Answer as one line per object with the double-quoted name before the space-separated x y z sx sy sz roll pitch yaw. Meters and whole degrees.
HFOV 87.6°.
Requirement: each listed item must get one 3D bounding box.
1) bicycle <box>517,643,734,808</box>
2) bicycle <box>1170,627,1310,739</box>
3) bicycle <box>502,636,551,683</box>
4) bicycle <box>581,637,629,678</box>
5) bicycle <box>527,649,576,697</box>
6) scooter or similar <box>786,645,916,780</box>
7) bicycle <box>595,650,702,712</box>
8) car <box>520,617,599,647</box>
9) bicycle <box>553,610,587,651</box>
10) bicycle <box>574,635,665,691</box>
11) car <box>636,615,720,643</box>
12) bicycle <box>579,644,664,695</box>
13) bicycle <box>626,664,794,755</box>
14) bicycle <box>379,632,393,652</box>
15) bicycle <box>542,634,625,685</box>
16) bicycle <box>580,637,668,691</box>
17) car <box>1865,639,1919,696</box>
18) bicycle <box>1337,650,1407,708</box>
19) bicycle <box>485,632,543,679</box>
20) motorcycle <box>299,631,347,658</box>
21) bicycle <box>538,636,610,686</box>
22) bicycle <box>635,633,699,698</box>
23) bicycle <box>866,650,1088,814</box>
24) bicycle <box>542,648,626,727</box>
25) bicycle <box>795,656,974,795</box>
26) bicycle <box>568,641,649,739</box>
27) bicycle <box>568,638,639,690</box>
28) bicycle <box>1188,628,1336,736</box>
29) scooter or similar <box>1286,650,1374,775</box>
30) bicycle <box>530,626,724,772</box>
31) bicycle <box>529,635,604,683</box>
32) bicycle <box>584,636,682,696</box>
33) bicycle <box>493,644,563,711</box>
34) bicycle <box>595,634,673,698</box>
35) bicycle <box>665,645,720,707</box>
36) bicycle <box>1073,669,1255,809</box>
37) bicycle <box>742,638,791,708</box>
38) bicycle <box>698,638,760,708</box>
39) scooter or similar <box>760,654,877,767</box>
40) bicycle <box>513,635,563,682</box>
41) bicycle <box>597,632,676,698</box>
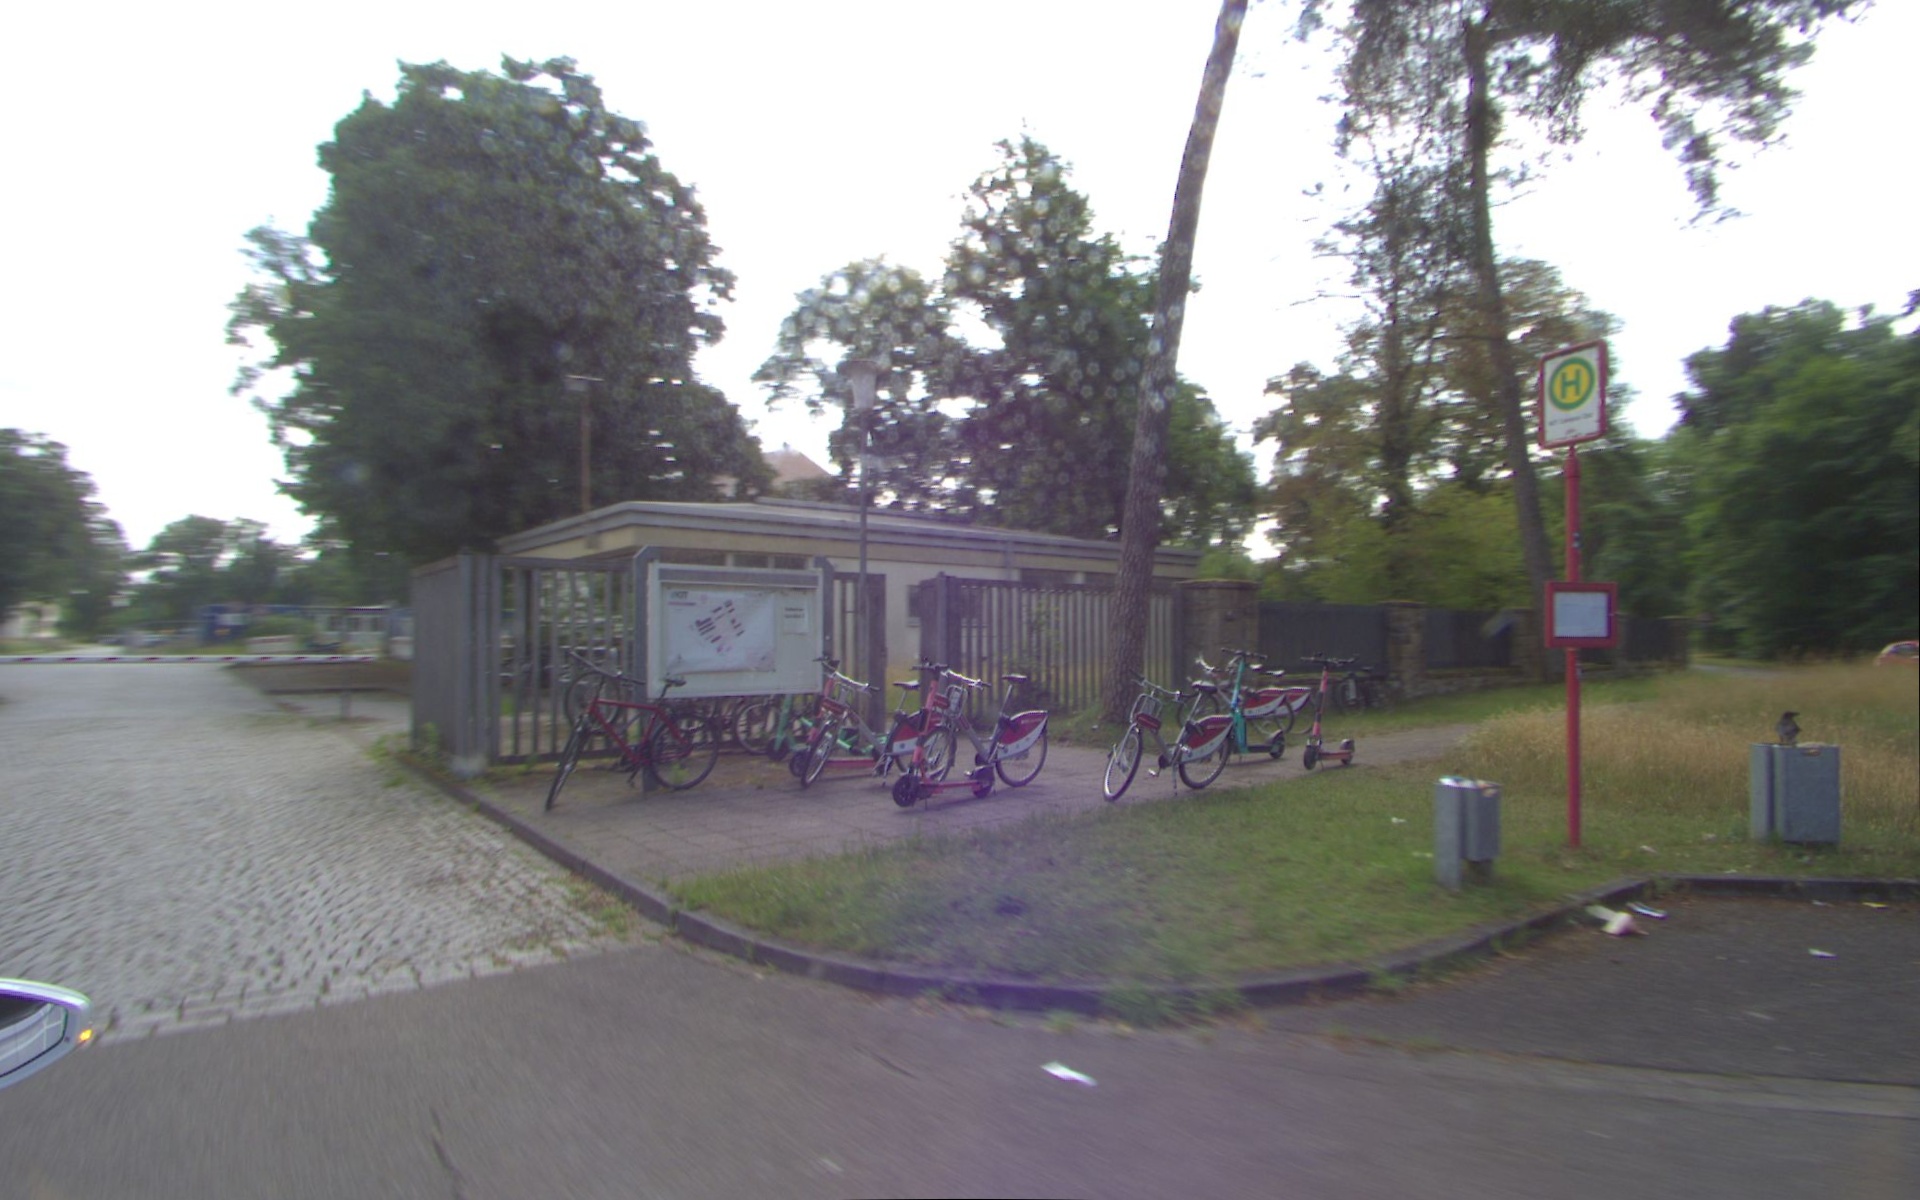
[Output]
"bicycle" -2.952 1.054 8.958 1.722 1.294 0.666 0 -1 -43
"bicycle" 3.889 1.123 13.974 1.774 1.435 0.585 1 0 36
"bicycle" -11.294 1.540 26.125 0.352 1.185 1.381 -2 -3 19
"bicycle" -9.734 1.575 27.426 1.877 1.095 0.369 -3 -3 41
"bicycle" -10.538 1.871 25.854 0.352 1.185 1.381 -2 -3 19
"scooter or similar" -1.081 1.090 10.047 1.267 1.262 0.384 0 -1 -32
"bicycle" -6.327 1.628 20.433 2.055 1.185 0.482 1 -3 -40
"car" -24.919 2.025 62.306 4.184 1.843 1.986 2 -3 -37
"bicycle" -11.755 0.930 30.180 0.500 1.185 1.543 0 -3 -39
"bicycle" -7.504 1.370 22.162 0.396 1.185 2.008 -3 -3 39
"car" -17.375 1.836 61.680 4.759 1.671 1.996 -1 -2 23
"bicycle" -7.290 1.478 21.632 0.350 1.044 1.759 -3 -3 44
"bicycle" -2.960 1.276 11.999 1.929 0.980 0.454 1 -1 -38
"bicycle" -29.917 2.195 52.172 0.329 1.020 1.713 0 -3 -39
"bicycle" -8.925 1.399 23.775 0.577 1.185 1.793 -3 -3 39
"bicycle" -7.626 1.442 22.794 0.397 1.185 1.970 -3 -3 40
"car" 26.829 1.833 26.994 1.964 1.483 4.199 0 -2 16
"bicycle" 7.848 1.474 19.034 1.931 1.029 0.370 1 -1 -40
"bicycle" -11.771 1.461 26.455 0.427 1.186 1.376 -3 -1 29
"motorcycle" -31.217 2.190 49.105 1.941 1.212 0.457 0 5 -41
"bicycle" -9.601 1.504 24.974 0.490 1.185 1.742 -3 -3 30
"bicycle" -5.616 1.242 19.284 0.428 1.185 1.653 -2 -3 13
"bicycle" 0.207 1.102 8.972 2.153 1.256 0.629 1 -2 -44
"bicycle" -5.626 1.274 14.952 0.724 1.070 1.582 1 -1 -39
"bicycle" -0.706 1.150 9.524 1.586 1.178 0.620 0 1 -28
"bicycle" -4.773 1.183 13.541 0.497 1.186 1.702 0 0 -38
"bicycle" -8.352 1.484 23.523 0.395 1.174 1.698 -3 -3 32
"bicycle" 4.317 1.138 14.410 1.956 1.435 0.574 0 -1 36
"scooter or similar" 3.998 1.176 10.788 1.079 1.244 0.434 -1 -1 -44
"bicycle" -3.492 0.998 10.588 1.881 1.435 0.513 1 -2 -34
"bicycle" -9.969 1.487 25.431 0.355 1.185 1.789 -3 -3 45
"bicycle" -6.801 1.354 20.907 1.937 1.185 0.481 1 -4 -45
"bicycle" -7.638 1.330 17.675 0.724 1.086 1.700 1 -1 -39
"bicycle" -6.357 1.277 19.572 1.380 1.185 0.433 1 -3 -39
"bicycle" -5.071 1.425 19.047 0.428 1.133 1.654 -2 -3 6
"bicycle" 1.865 1.198 9.040 1.664 1.098 0.735 1 -3 -41
"bicycle" -3.493 1.307 17.961 0.429 1.185 1.719 0 -3 -26
"bicycle" -4.503 1.430 19.446 0.431 1.093 1.588 0 -12 -39
"scooter or similar" -1.565 1.192 11.048 1.231 1.165 0.437 0 -1 24
"bicycle" -10.929 1.509 25.963 0.352 1.185 1.381 -2 -3 19
"bicycle" -6.178 1.226 19.189 0.429 1.186 1.648 -2 -1 23
